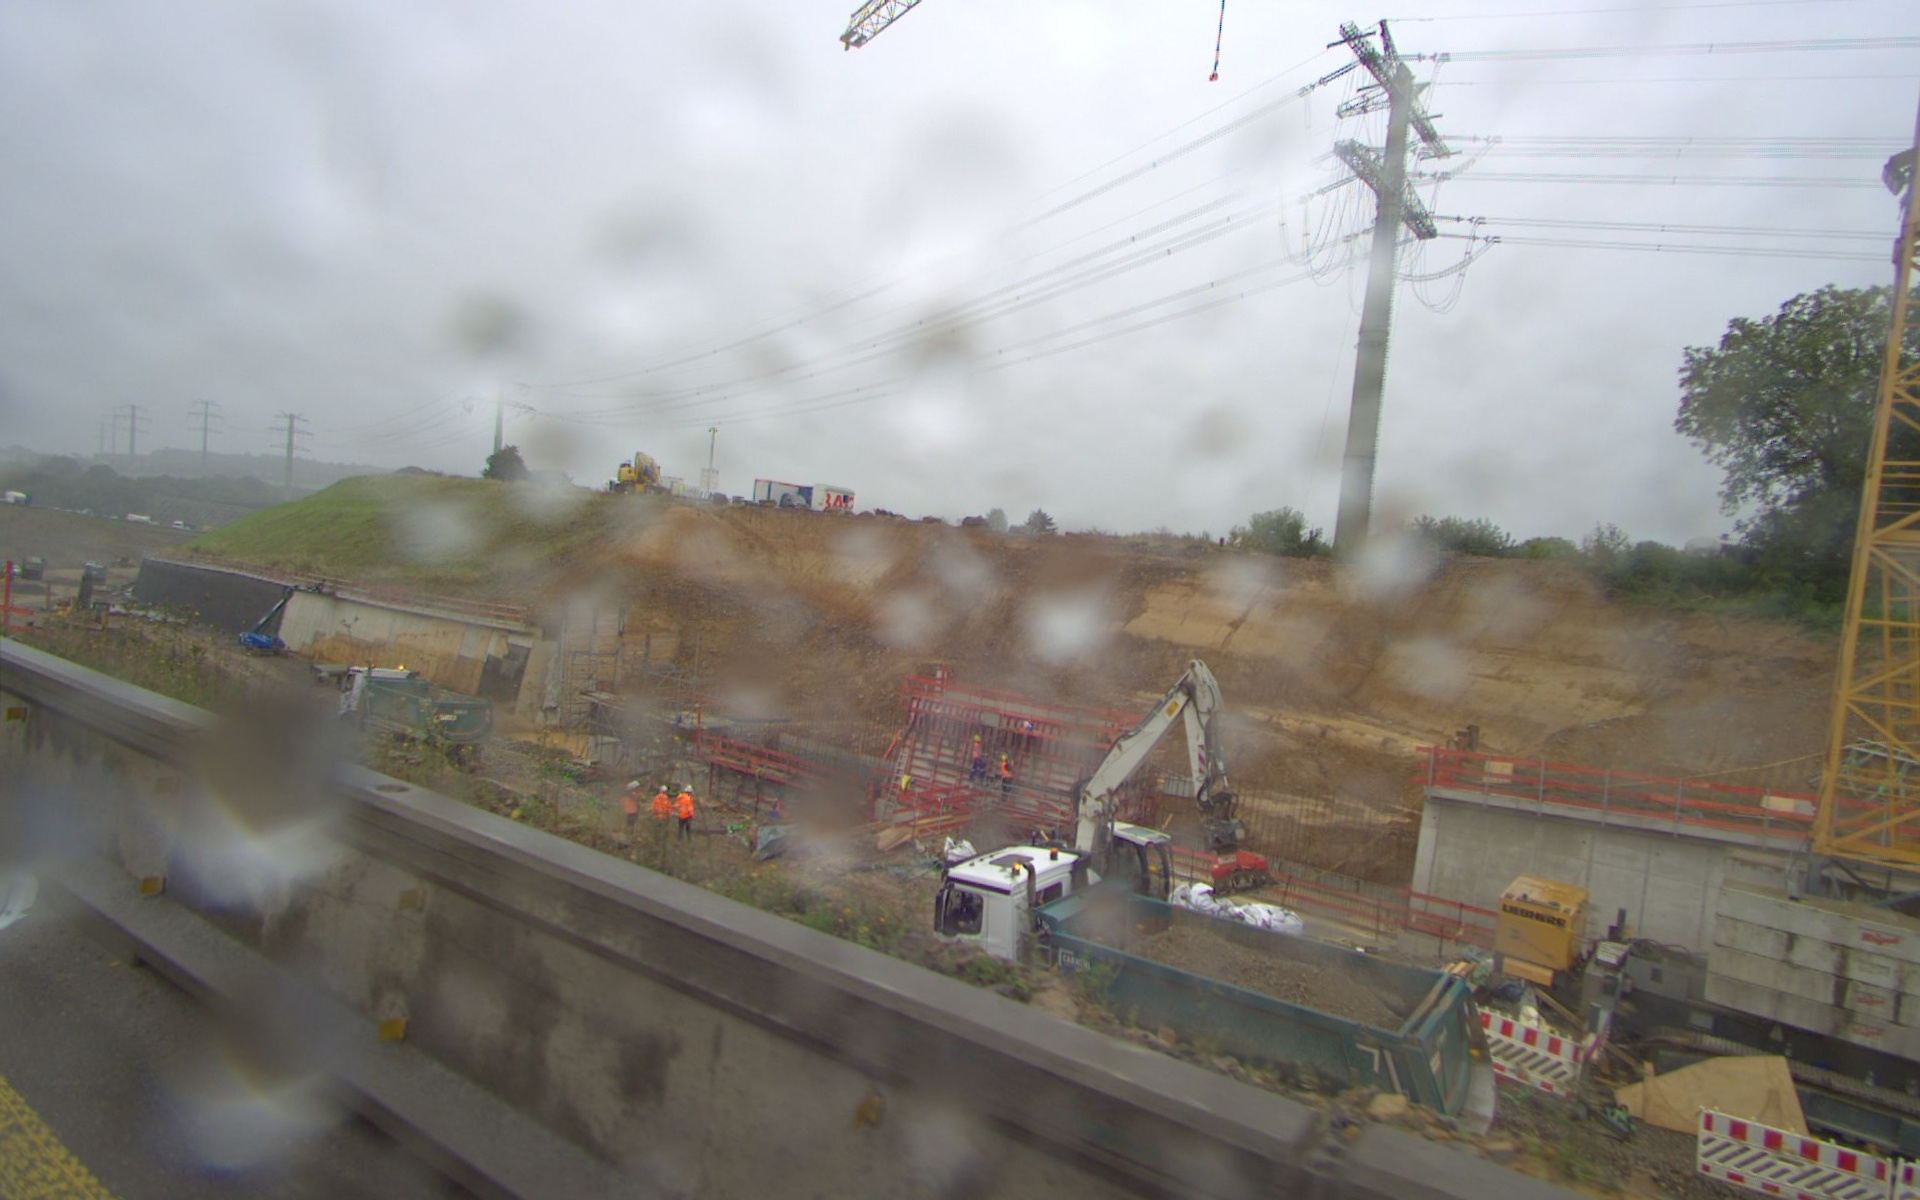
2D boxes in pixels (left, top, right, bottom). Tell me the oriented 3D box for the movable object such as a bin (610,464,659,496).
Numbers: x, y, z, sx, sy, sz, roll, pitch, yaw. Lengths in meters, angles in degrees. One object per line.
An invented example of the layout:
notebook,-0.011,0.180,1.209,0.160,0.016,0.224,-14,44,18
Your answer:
movable object such as a bin,-30.423,-11.208,93.950,3.911,2.473,2.427,9,1,40

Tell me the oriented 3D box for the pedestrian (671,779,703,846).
pedestrian,-8.572,6.665,31.579,0.725,1.968,0.573,6,0,-20

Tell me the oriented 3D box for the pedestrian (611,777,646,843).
pedestrian,-10.347,6.544,31.401,0.724,1.892,0.573,6,0,39

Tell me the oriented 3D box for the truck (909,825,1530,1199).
truck,3.486,6.347,15.720,8.821,3.545,2.697,6,-1,41

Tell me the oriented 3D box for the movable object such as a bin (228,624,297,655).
movable object such as a bin,-54.716,3.085,79.000,3.772,2.036,2.001,6,-3,-4

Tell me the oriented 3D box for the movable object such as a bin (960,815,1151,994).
movable object such as a bin,2.206,6.670,22.643,2.920,2.770,3.154,6,-1,32

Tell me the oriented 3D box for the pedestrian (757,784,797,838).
pedestrian,-7.704,8.901,42.369,0.892,2.014,0.901,6,-10,36

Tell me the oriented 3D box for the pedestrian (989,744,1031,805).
pedestrian,1.871,6.548,37.760,0.885,2.014,0.907,6,-11,37

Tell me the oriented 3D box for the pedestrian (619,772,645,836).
pedestrian,-10.530,6.545,32.328,0.567,1.892,0.732,6,0,-21

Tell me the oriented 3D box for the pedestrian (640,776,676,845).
pedestrian,-9.431,6.556,31.405,0.721,1.968,0.575,6,0,4

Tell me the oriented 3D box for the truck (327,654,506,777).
truck,-22.284,4.532,40.976,8.928,3.532,2.730,6,-1,37

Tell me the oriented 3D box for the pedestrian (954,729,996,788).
pedestrian,0.595,6.101,38.770,0.885,2.014,0.907,6,-11,37
